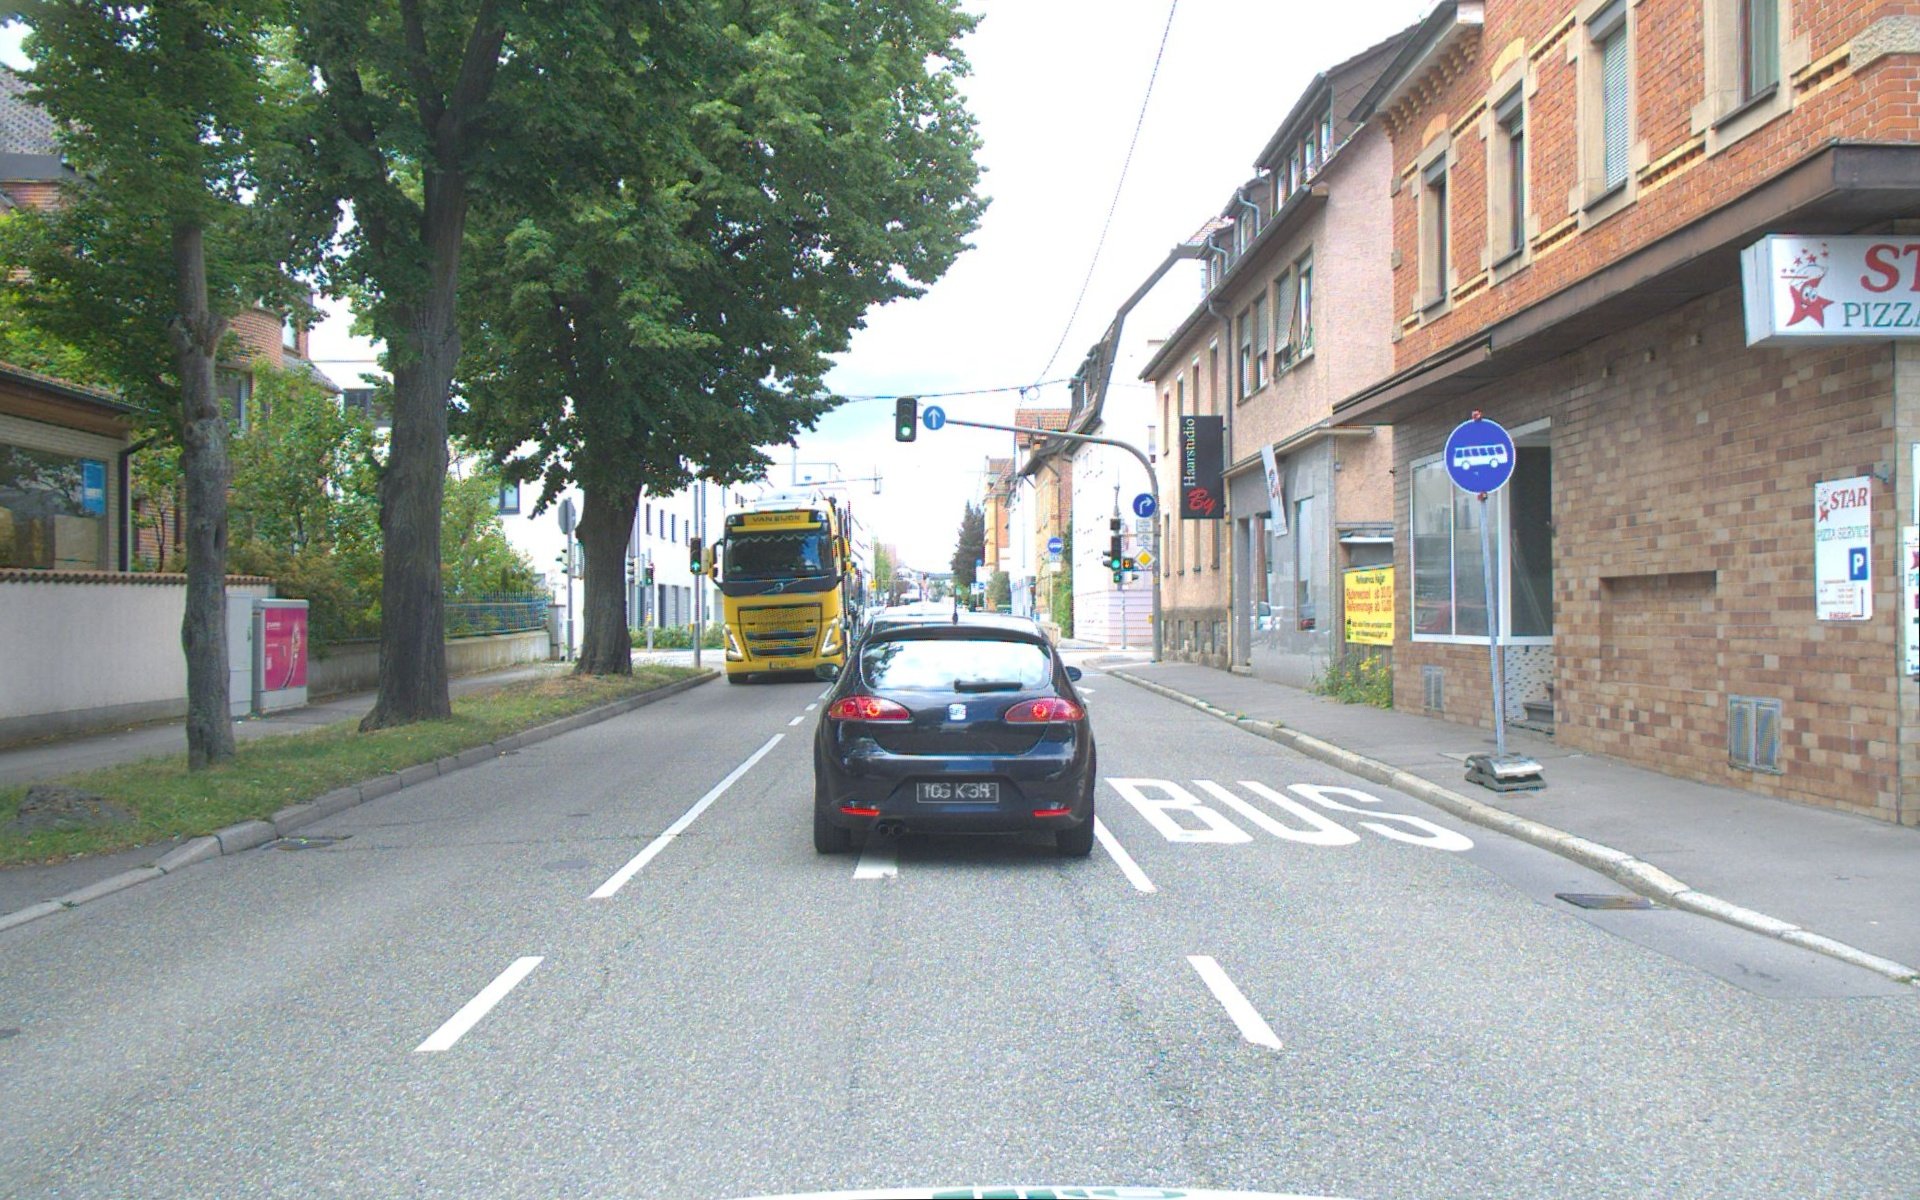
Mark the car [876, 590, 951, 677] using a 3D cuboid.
[{"bbox_3d":[-0.989,0.698,35.198,1.500,1.723,3.692,1,-1,-2],"label":"car"}]

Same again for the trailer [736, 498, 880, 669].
[{"bbox_3d":[-3.822,-0.294,45.003,2.800,3.875,14.387,1,-1,-1],"label":"trailer"}]

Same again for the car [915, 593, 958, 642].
[{"bbox_3d":[-0.871,0.628,60.610,1.500,1.723,3.692,1,-1,-2],"label":"car"}]

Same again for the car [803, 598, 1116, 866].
[{"bbox_3d":[-0.039,0.759,11.183,1.723,1.467,3.999,1,-1,-1],"label":"car"}]

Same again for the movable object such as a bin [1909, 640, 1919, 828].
[{"bbox_3d":[6.032,0.790,9.640,0.594,1.120,0.622,-2,-1,-1],"label":"movable object such as a bin"}]

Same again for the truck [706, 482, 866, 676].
[{"bbox_3d":[-3.703,-0.369,36.901,2.786,3.849,7.667,1,-1,-1],"label":"truck"}]

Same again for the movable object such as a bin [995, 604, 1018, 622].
[{"bbox_3d":[3.894,1.119,138.928,1.781,1.462,1.992,1,-1,0],"label":"movable object such as a bin"}]

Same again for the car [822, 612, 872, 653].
[{"bbox_3d":[-4.575,1.305,67.367,1.731,1.495,4.225,-3,-1,-1],"label":"car"}]

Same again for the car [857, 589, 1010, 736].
[{"bbox_3d":[-0.366,0.771,21.711,1.805,1.723,3.998,1,-1,-2],"label":"car"}]

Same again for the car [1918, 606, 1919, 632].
[{"bbox_3d":[6.287,0.607,6.617,3.949,1.496,1.600,-4,-1,-3],"label":"car"}]
